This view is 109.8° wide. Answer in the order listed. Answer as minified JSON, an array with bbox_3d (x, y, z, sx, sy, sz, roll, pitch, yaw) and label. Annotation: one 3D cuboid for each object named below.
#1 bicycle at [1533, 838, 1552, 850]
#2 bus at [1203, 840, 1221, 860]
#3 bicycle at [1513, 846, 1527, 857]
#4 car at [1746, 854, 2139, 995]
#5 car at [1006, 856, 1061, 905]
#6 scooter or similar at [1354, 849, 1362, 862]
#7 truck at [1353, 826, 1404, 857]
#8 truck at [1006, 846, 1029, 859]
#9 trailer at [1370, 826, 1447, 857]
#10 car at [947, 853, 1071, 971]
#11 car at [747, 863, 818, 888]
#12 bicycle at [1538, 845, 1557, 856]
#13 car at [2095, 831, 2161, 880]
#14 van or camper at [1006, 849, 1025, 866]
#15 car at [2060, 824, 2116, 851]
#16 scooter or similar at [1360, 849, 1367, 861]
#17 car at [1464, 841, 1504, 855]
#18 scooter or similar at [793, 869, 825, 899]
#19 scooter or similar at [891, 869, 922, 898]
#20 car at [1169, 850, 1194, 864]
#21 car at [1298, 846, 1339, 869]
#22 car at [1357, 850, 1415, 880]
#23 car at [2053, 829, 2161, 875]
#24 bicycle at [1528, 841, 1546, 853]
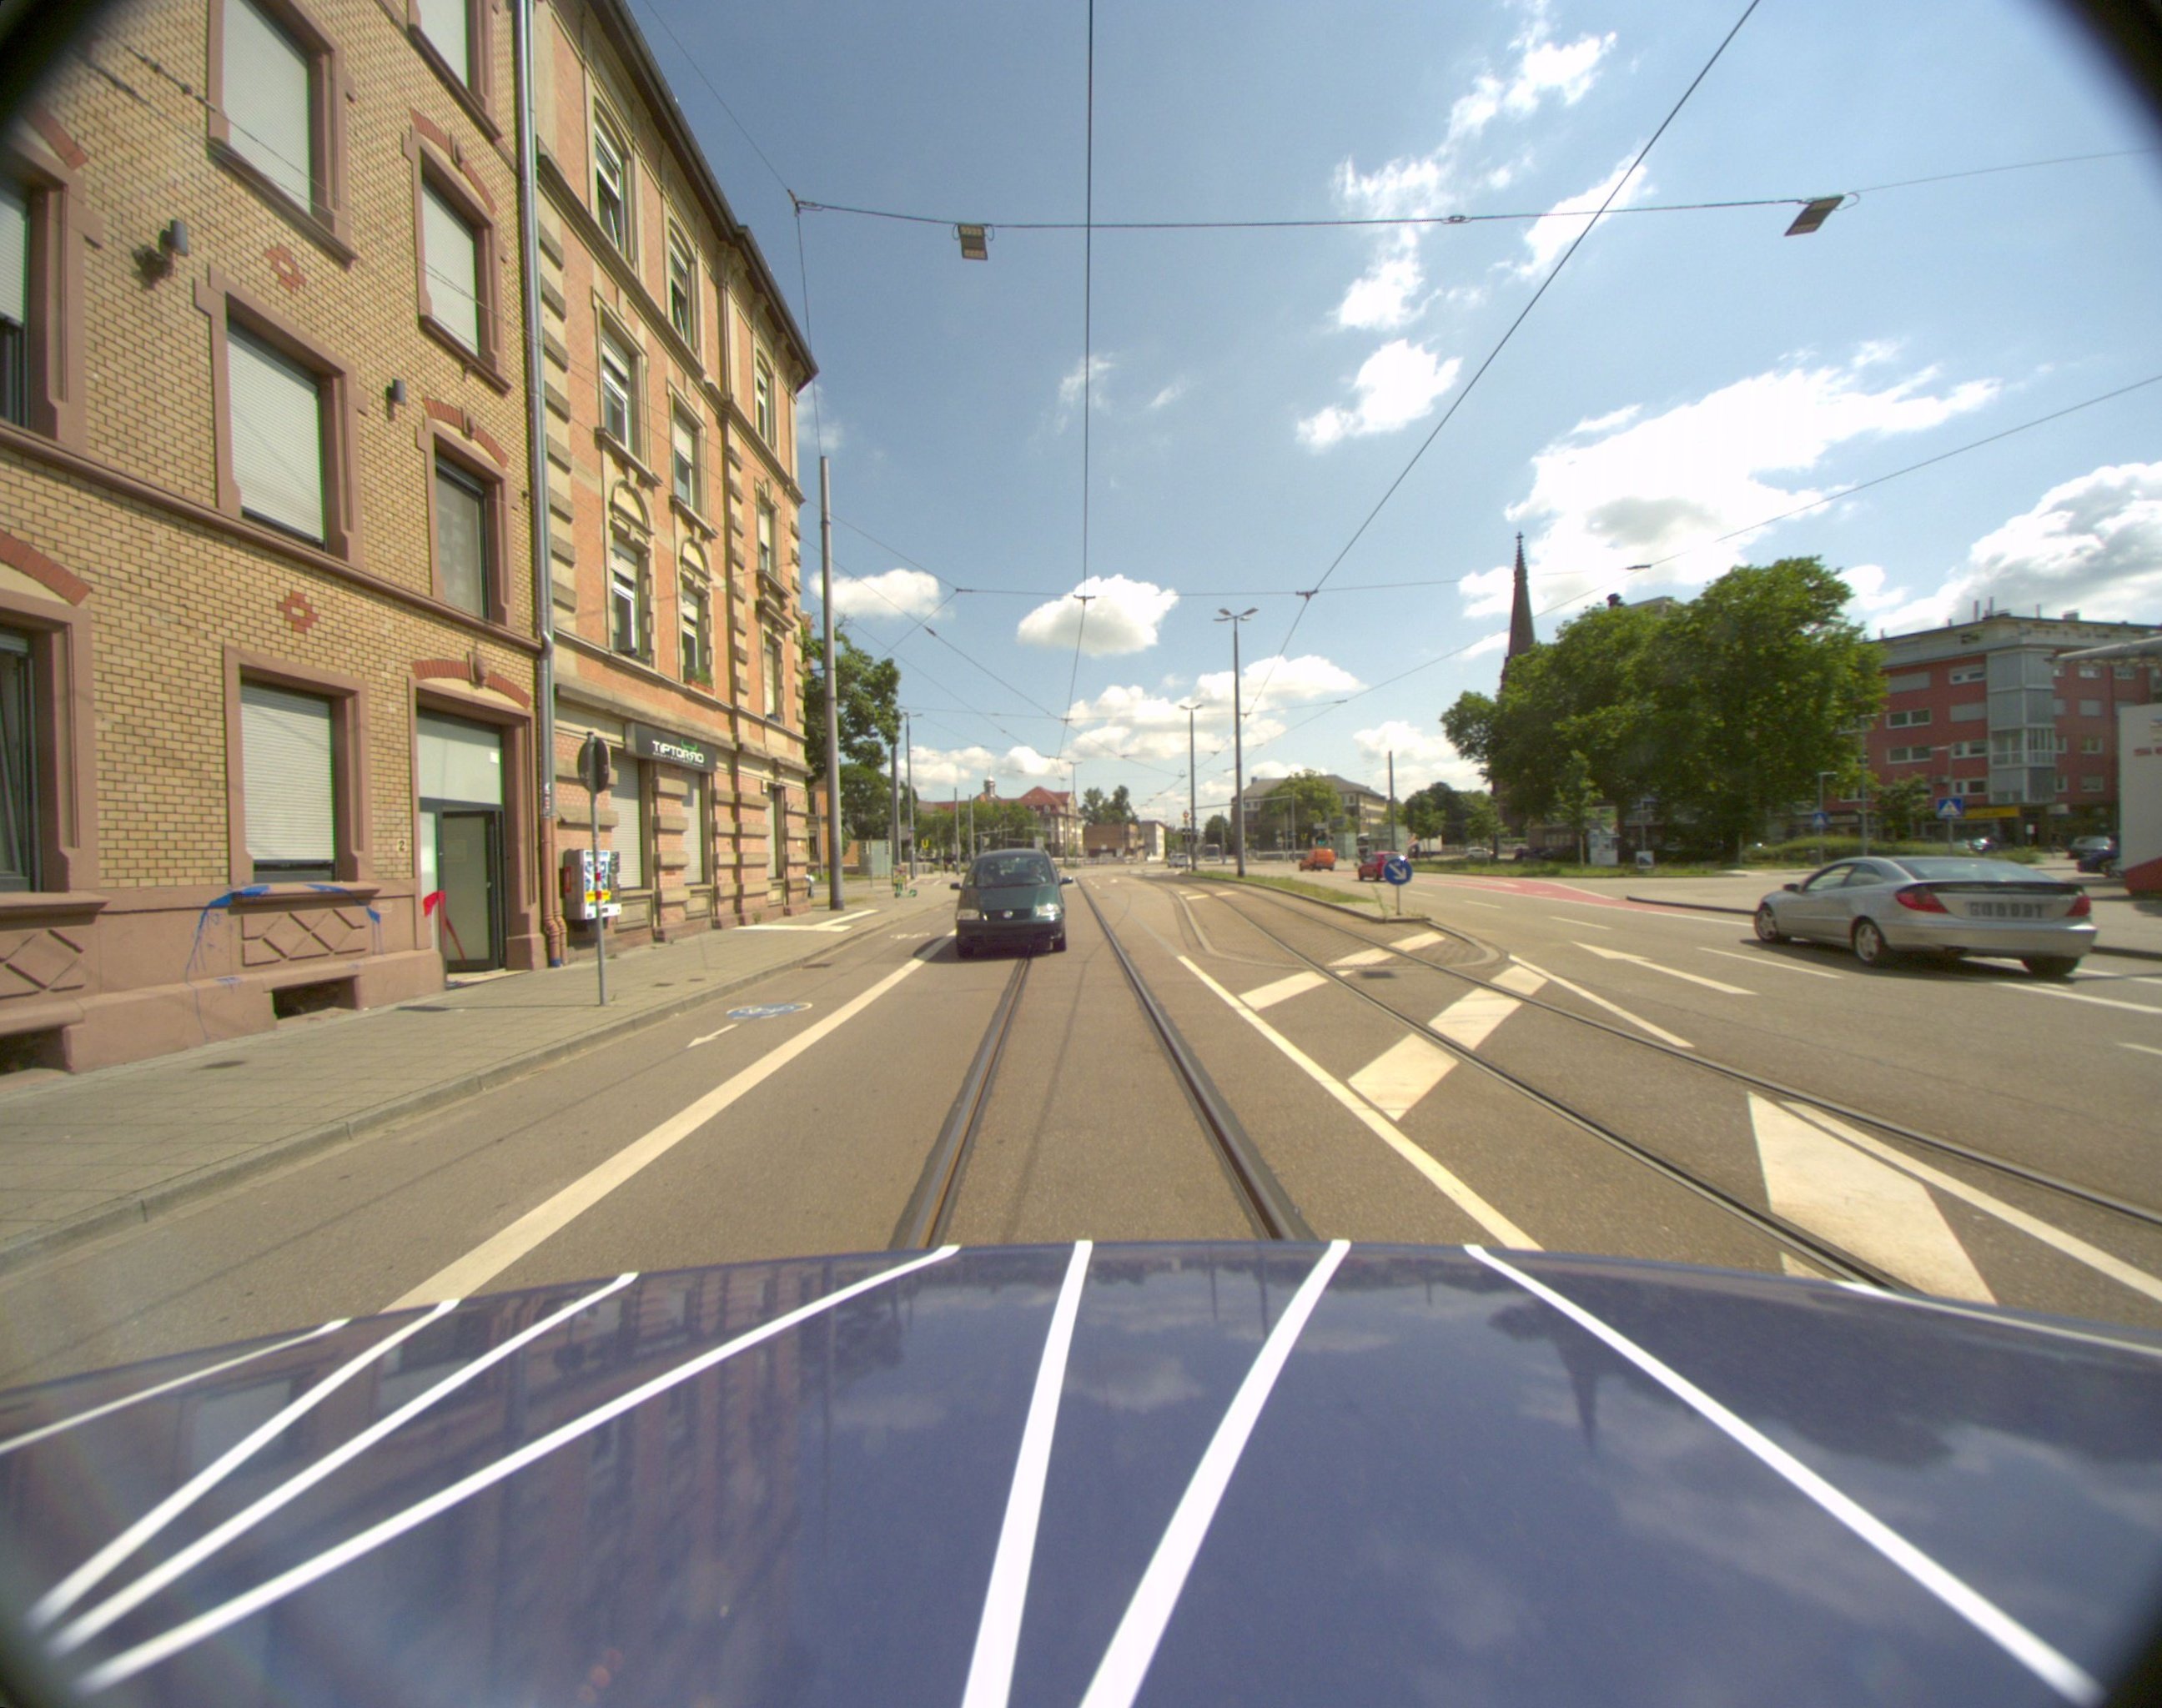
[{"bbox_3d":[48.768,-1.042,80.248,0.494,1.161,1.598,-3,0,-32],"label":"bicycle"},{"bbox_3d":[23.794,-0.740,137.634,2.947,3.427,7.953,-2,0,10],"label":"bus"},{"bbox_3d":[49.518,-0.293,85.734,0.460,1.139,1.270,-2,0,-36],"label":"bicycle"},{"bbox_3d":[10.943,0.751,10.173,1.816,1.412,4.194,-1,0,23],"label":"car"},{"bbox_3d":[-1.802,0.956,29.520,1.873,1.607,4.425,-4,0,-2],"label":"car"},{"bbox_3d":[25.934,0.175,71.157,0.462,1.193,0.549,-2,0,-2],"label":"scooter or similar"},{"bbox_3d":[41.177,-1.714,105.219,6.889,4.095,2.957,-2,1,-31],"label":"truck"},{"bbox_3d":[-15.005,-0.307,178.873,3.359,2.980,8.720,-2,0,-19],"label":"truck"},{"bbox_3d":[47.035,-1.834,108.837,13.440,4.052,2.942,-2,0,-32],"label":"trailer"},{"bbox_3d":[-1.122,0.870,13.533,1.819,1.707,4.084,-2,0,-1],"label":"car"},{"bbox_3d":[-21.640,1.549,55.153,4.435,1.578,1.869,-2,1,-39],"label":"car"},{"bbox_3d":[47.192,-0.363,76.860,0.494,1.060,1.598,-3,0,-32],"label":"bicycle"},{"bbox_3d":[33.317,0.007,22.485,1.838,1.438,3.936,-2,0,-37],"label":"car"},{"bbox_3d":[-10.667,0.587,122.849,2.234,2.719,5.515,-2,0,-13],"label":"van or camper"},{"bbox_3d":[66.791,-1.105,50.389,4.007,1.696,1.995,-2,0,-33],"label":"car"},{"bbox_3d":[26.546,0.115,71.340,0.416,1.118,0.556,-2,0,-2],"label":"scooter or similar"},{"bbox_3d":[50.620,-0.802,95.435,4.164,1.633,1.631,-2,0,17],"label":"car"},{"bbox_3d":[-11.416,1.255,31.950,0.950,1.196,1.389,-1,1,-8],"label":"scooter or similar"},{"bbox_3d":[-7.363,1.225,32.129,0.949,1.173,1.086,-1,1,5],"label":"scooter or similar"},{"bbox_3d":[12.079,0.378,91.825,1.772,1.594,4.489,-1,0,-9],"label":"car"},{"bbox_3d":[19.827,0.251,63.544,1.916,1.855,4.366,-1,0,-2],"label":"car"},{"bbox_3d":[15.176,0.507,37.988,1.705,1.420,3.903,0,0,6],"label":"car"},{"bbox_3d":[35.346,-0.076,25.012,1.662,1.465,3.781,-1,-2,-24],"label":"car"},{"bbox_3d":[50.442,-0.745,83.991,0.494,1.257,1.598,-3,0,-32],"label":"bicycle"}]
